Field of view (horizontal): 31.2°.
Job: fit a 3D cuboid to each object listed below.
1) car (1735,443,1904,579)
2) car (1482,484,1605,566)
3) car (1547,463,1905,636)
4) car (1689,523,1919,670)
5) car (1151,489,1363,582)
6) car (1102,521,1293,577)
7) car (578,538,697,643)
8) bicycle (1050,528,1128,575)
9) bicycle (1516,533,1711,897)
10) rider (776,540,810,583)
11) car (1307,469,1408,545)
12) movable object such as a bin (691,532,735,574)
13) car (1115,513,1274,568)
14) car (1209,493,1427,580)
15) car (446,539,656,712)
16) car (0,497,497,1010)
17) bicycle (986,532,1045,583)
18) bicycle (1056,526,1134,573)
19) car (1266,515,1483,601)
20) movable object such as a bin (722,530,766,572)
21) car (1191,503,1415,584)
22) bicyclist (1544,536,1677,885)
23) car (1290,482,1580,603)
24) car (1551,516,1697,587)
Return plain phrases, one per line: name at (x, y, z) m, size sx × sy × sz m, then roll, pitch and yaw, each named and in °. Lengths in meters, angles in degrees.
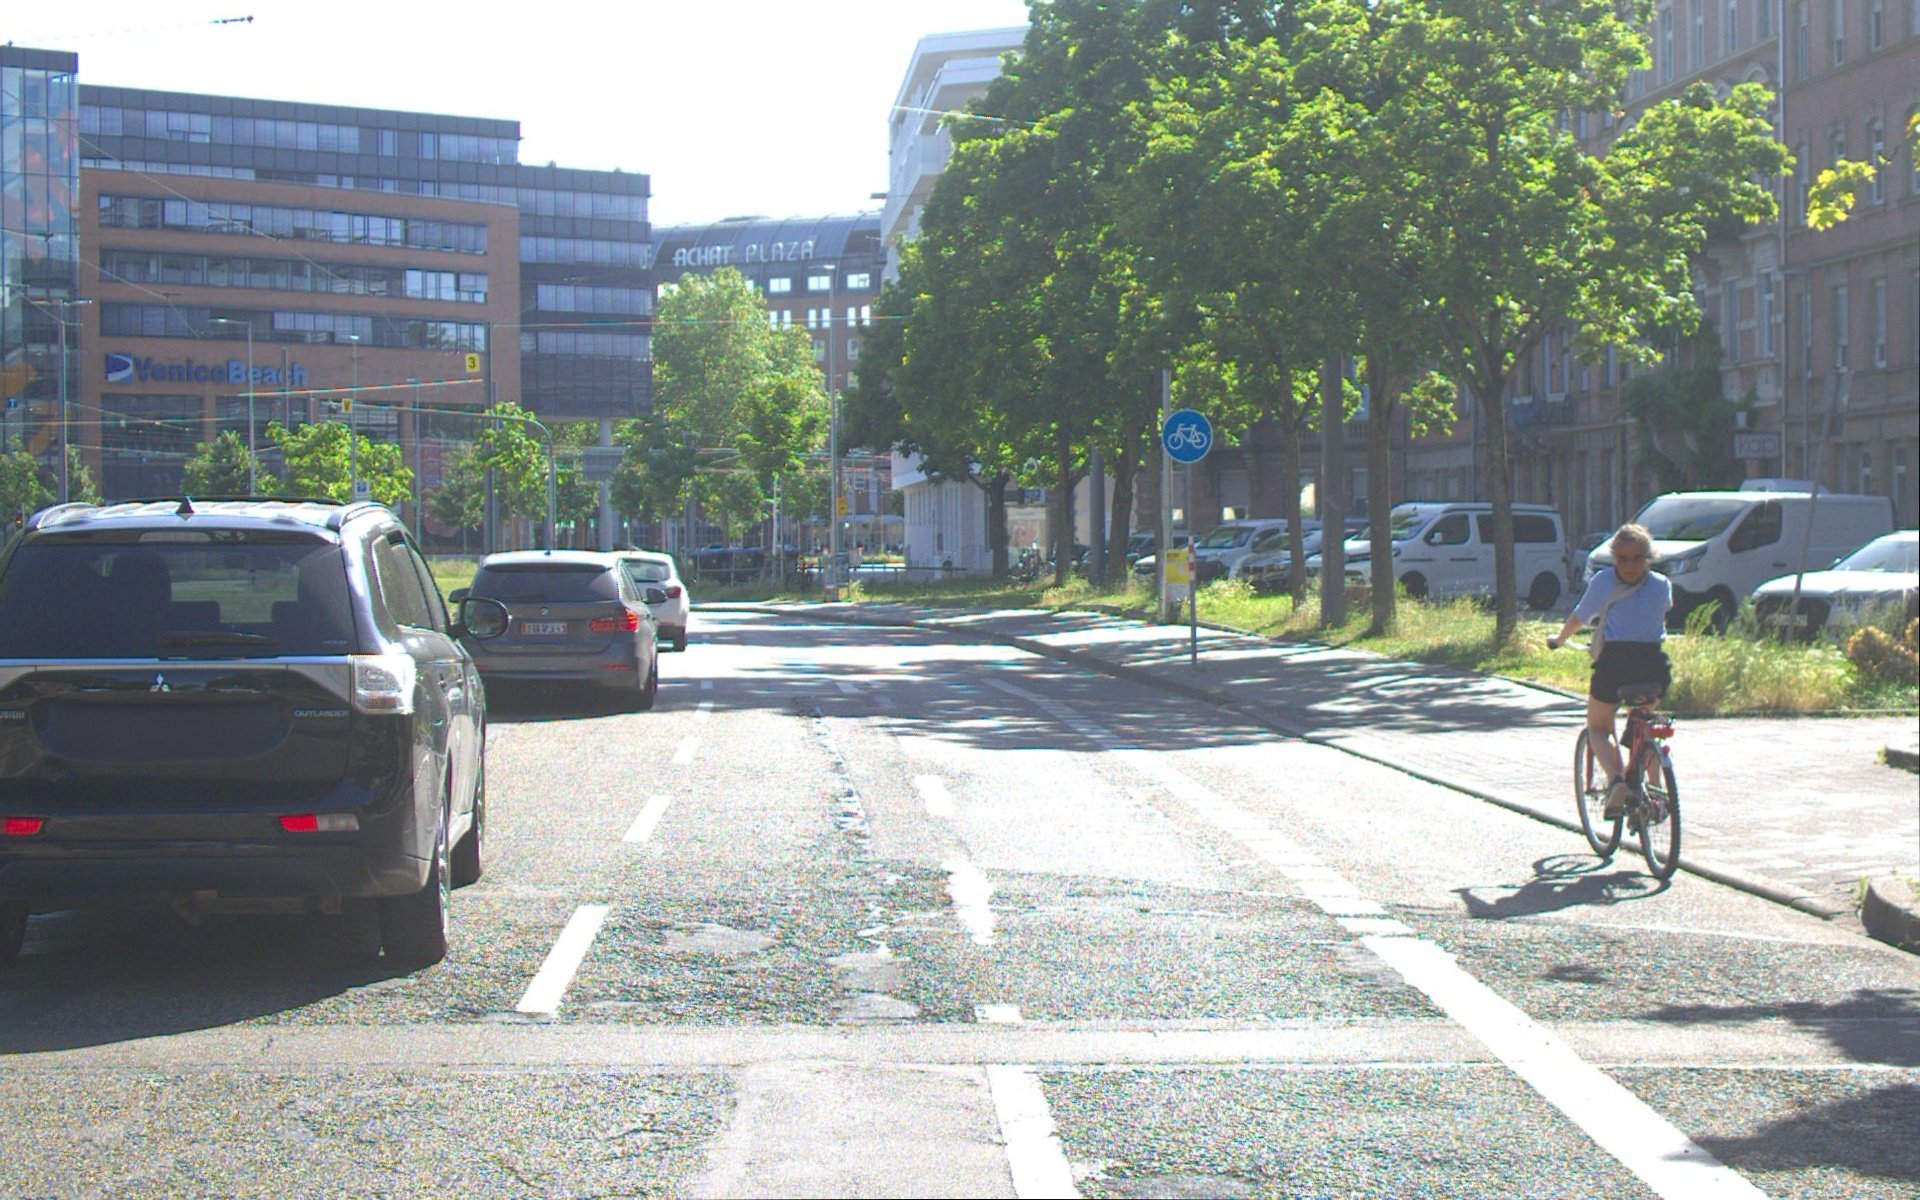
car at (17.187, -1.802, 68.986) m, size 1.993 × 2.576 × 4.514 m, roll -2°, pitch 2°, yaw -3°
car at (14.940, -1.941, 88.205) m, size 1.993 × 1.971 × 4.725 m, roll -2°, pitch 2°, yaw -4°
car at (10.284, -0.705, 45.985) m, size 4.866 × 2.068 × 2.020 m, roll -4°, pitch 3°, yaw -39°
car at (10.593, -0.103, 38.521) m, size 4.866 × 1.430 × 2.020 m, roll -4°, pitch 2°, yaw -37°
car at (7.123, -1.552, 82.255) m, size 4.866 × 2.006 × 2.100 m, roll -3°, pitch 2°, yaw -38°
car at (6.120, -1.324, 88.356) m, size 4.738 × 1.375 × 2.045 m, roll -1°, pitch 2°, yaw -38°
car at (-4.736, -0.116, 50.163) m, size 1.632 × 1.418 × 3.783 m, roll 2°, pitch -1°, yaw -6°
bicycle at (3.465, -1.294, 92.251) m, size 1.957 × 1.188 × 0.842 m, roll -2°, pitch 1°, yaw -5°
bicycle at (3.120, 0.502, 16.560) m, size 0.437 × 1.633 × 1.939 m, roll -1°, pitch 2°, yaw -4°
rider at (-4.731, -1.093, 97.393) m, size 0.502 × 1.172 × 1.675 m, roll 0°, pitch 2°, yaw 13°
car at (13.024, -3.068, 113.005) m, size 2.349 × 2.349 × 5.189 m, roll -2°, pitch 2°, yaw -3°
movable object such as a bin at (-8.393, -1.611, 116.840) m, size 1.069 × 1.393 × 1.303 m, roll 0°, pitch 1°, yaw 16°
car at (6.932, -1.761, 101.336) m, size 4.456 × 1.560 × 1.938 m, roll -1°, pitch 2°, yaw -35°
car at (7.930, -1.409, 76.079) m, size 4.499 × 1.721 × 2.000 m, roll -3°, pitch 1°, yaw -33°
car at (-3.680, 0.241, 31.475) m, size 1.734 × 1.418 × 4.468 m, roll 2°, pitch -1°, yaw -5°
car at (-2.866, 0.478, 13.588) m, size 1.836 × 1.676 × 4.644 m, roll 0°, pitch 1°, yaw -5°
bicycle at (1.473, -1.126, 91.193) m, size 0.769 × 1.285 × 1.594 m, roll 0°, pitch 2°, yaw 36°
bicycle at (3.570, -1.344, 91.259) m, size 1.944 × 1.176 × 0.900 m, roll -2°, pitch 1°, yaw -5°
car at (8.051, -0.825, 66.640) m, size 4.018 × 1.473 × 1.812 m, roll -3°, pitch 2°, yaw -38°
movable object such as a bin at (-7.311, -1.655, 116.620) m, size 1.108 × 1.393 × 1.320 m, roll 0°, pitch 1°, yaw 16°
car at (7.961, -1.322, 79.674) m, size 4.865 × 1.642 × 2.100 m, roll -3°, pitch 1°, yaw -33°
bicyclist at (3.126, 0.512, 16.551) m, size 0.437 × 1.633 × 0.779 m, roll -1°, pitch 1°, yaw -3°
car at (8.842, -1.070, 63.835) m, size 5.171 × 2.006 × 2.100 m, roll -3°, pitch 1°, yaw -33°
car at (15.717, -1.171, 81.605) m, size 1.993 × 1.523 × 4.514 m, roll -2°, pitch 2°, yaw -8°
